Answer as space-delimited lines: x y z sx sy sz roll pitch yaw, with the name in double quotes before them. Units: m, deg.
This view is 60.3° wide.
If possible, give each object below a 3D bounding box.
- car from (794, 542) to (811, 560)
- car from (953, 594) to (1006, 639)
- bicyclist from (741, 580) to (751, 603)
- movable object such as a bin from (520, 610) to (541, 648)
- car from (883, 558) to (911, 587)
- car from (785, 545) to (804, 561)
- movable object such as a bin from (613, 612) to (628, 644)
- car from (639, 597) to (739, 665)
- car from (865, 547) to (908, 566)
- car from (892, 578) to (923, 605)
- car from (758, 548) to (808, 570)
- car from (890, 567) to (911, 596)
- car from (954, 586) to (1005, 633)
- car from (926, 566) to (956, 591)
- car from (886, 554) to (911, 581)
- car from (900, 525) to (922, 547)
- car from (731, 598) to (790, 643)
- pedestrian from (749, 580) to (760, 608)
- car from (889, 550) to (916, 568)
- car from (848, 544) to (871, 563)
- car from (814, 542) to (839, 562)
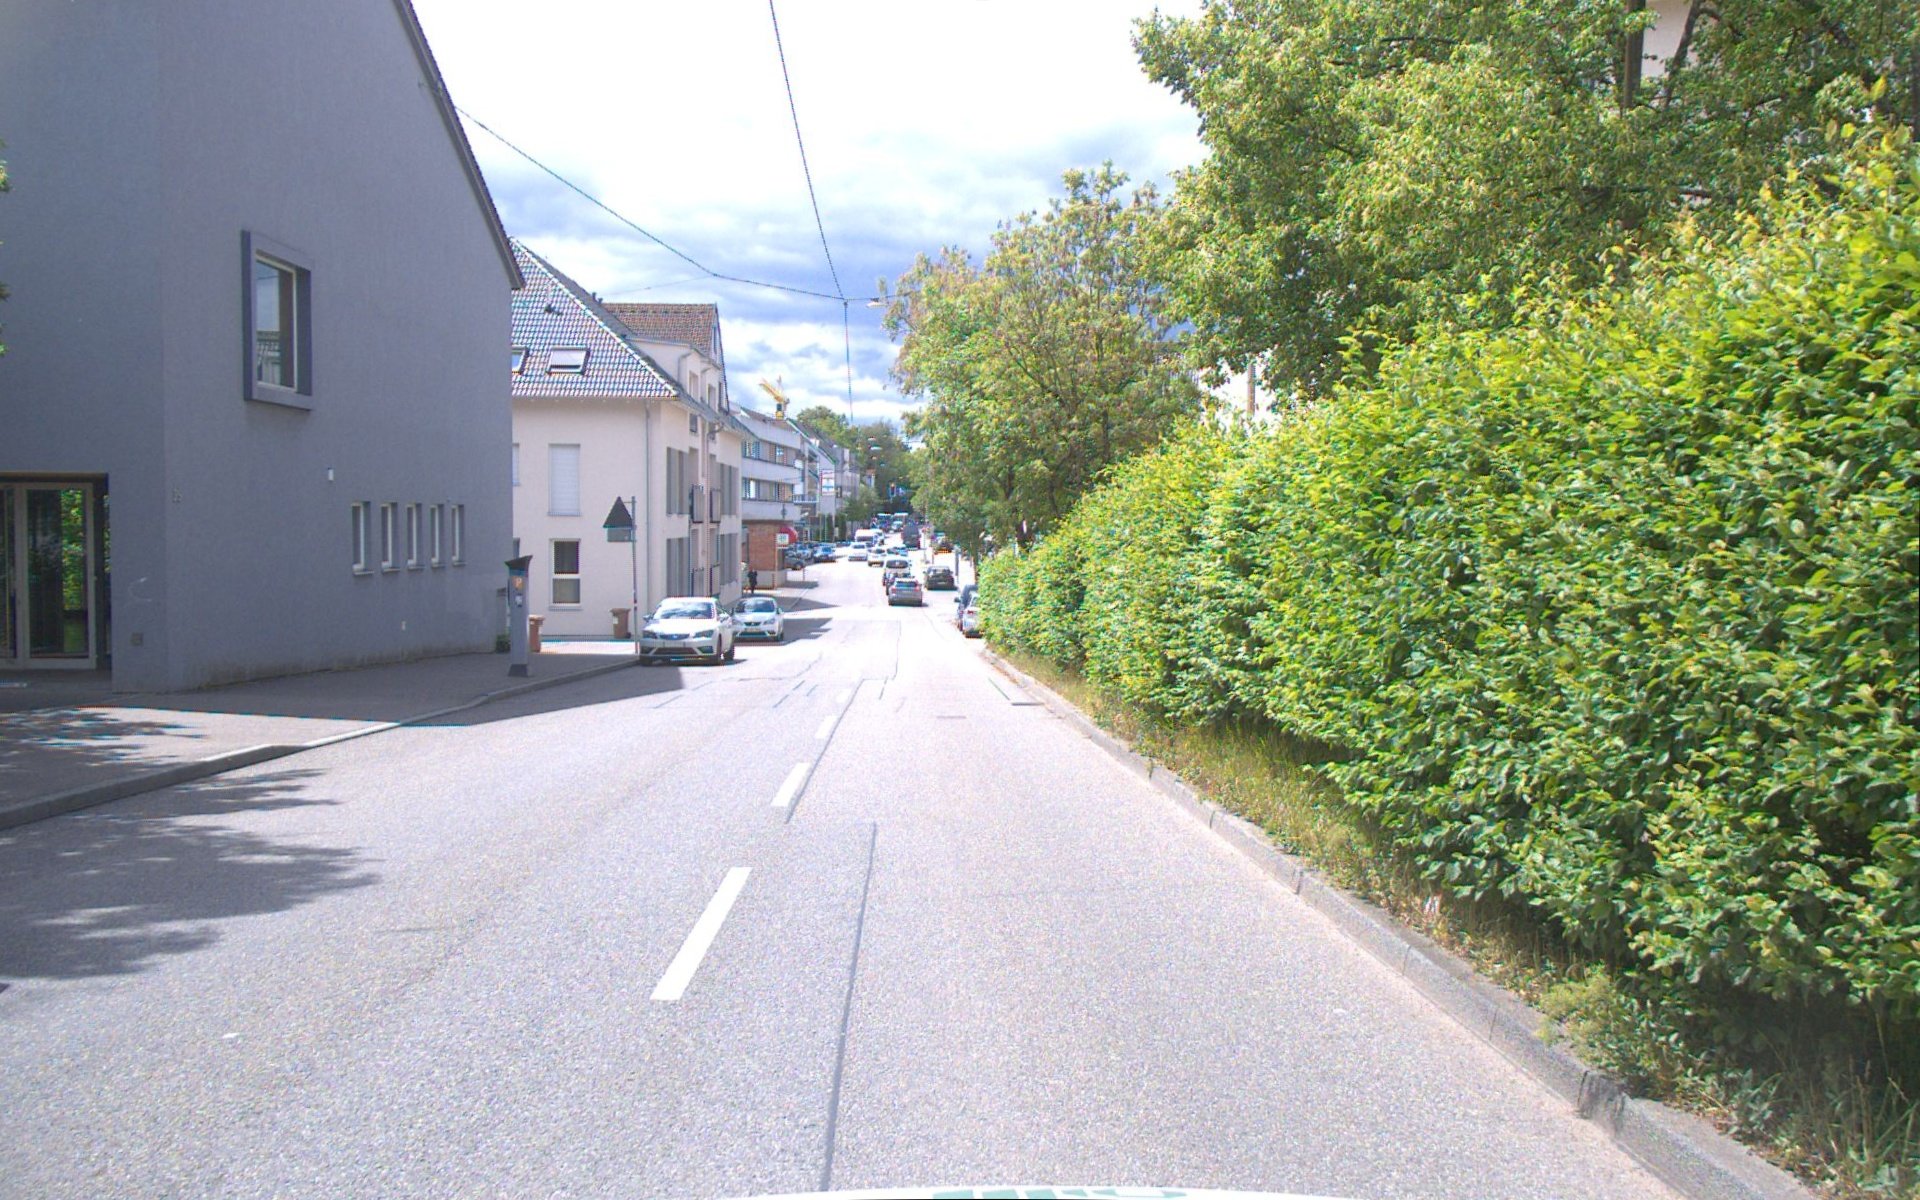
"car" -14.716 -4.583 154.294 1.356 1.568 3.398 0 1 -2
"car" 0.692 0.591 60.770 1.750 1.535 4.363 1 1 -2
"bicyclist" -11.637 -0.456 89.924 0.448 1.199 0.624 0 1 -2
"movable object such as a bin" -10.965 0.746 42.246 0.445 0.945 0.399 -1 0 -3
"car" -4.222 -1.862 110.647 1.799 1.894 3.849 1 1 -2
"car" -14.945 -4.254 149.384 1.520 1.400 3.398 0 1 -2
"movable object such as a bin" -10.546 0.861 51.450 0.405 0.970 0.391 0 0 -5
"car" -6.074 0.659 37.436 1.663 1.414 3.865 1 0 -1
"car" -6.200 -3.684 139.763 1.748 1.584 3.993 0 1 30
"car" -2.892 -0.484 91.123 1.709 1.441 3.999 0 1 -2
"car" -13.796 -3.182 128.994 3.609 1.642 1.561 1 1 -29
"car" -3.634 -1.115 100.051 1.248 1.553 3.050 0 4 -3
"car" 0.754 0.337 66.555 1.807 1.798 4.513 1 1 -2
"car" -1.251 -1.376 106.850 1.718 1.394 3.999 0 4 -3
"car" -4.502 -2.394 121.194 1.799 1.894 3.849 1 1 -2
"car" -5.676 -7.335 190.624 2.387 2.358 5.325 2 1 -2
"car" -6.656 0.677 55.415 1.614 1.443 3.697 1 0 -2
"pedestrian" -12.195 -0.370 98.325 0.616 1.630 0.562 1 1 -6
"car" -5.345 -3.828 154.896 1.744 1.518 4.004 2 1 10
"car" -9.334 -4.331 153.452 1.834 1.668 4.000 2 1 0
"car" -12.083 -4.354 149.604 1.834 1.668 4.000 2 1 0
